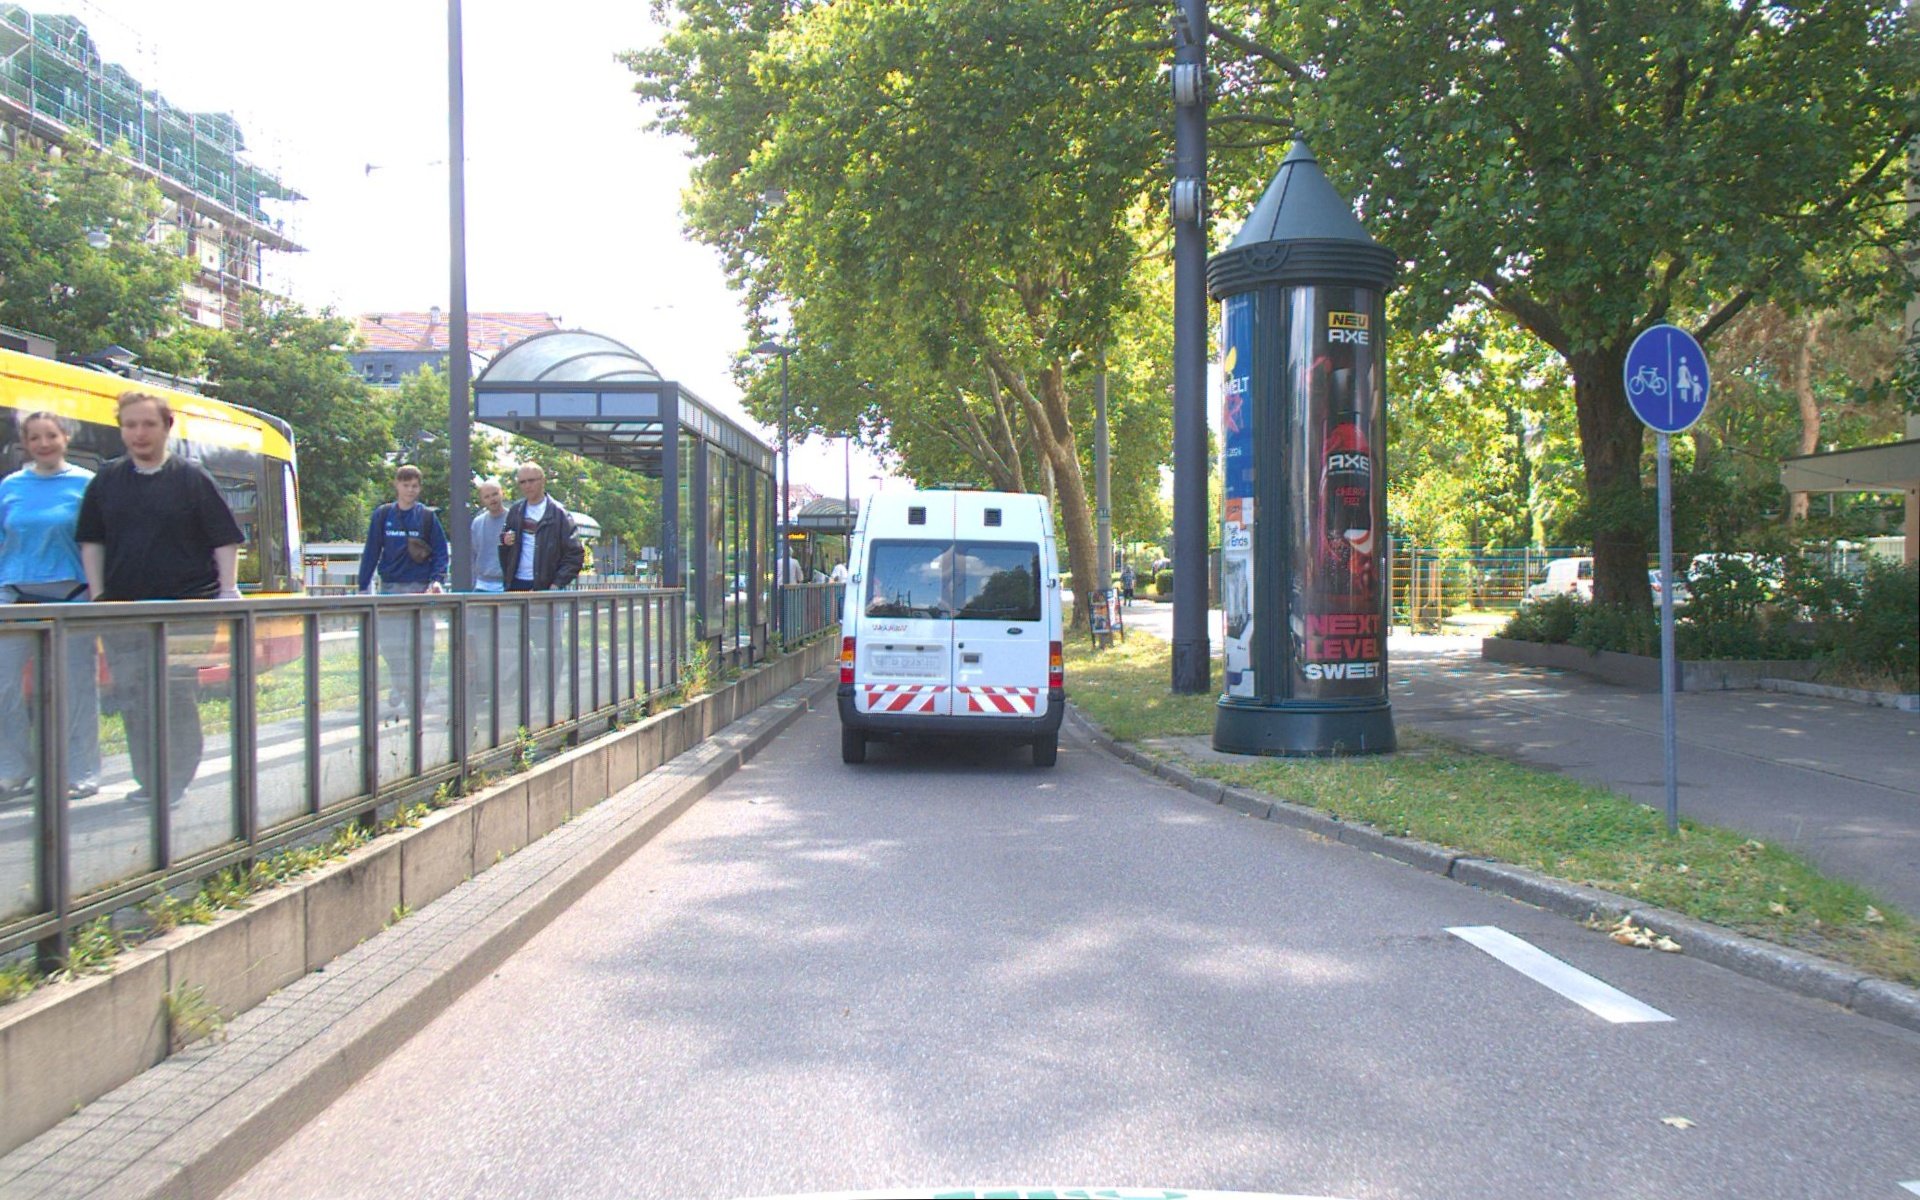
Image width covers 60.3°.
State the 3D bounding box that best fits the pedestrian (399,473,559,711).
[{"bbox_3d":[-3.897,-0.076,13.531,0.868,1.832,1.494,0,1,-1],"label":"pedestrian"}]

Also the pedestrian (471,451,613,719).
[{"bbox_3d":[-3.093,-0.114,12.334,0.794,1.905,1.031,0,1,-1],"label":"pedestrian"}]

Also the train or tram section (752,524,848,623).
[{"bbox_3d":[-6.337,-1.058,67.499,2.668,3.646,13.016,0,1,0],"label":"train or tram section"}]

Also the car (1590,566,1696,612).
[{"bbox_3d":[22.084,-0.383,53.634,1.770,1.426,4.047,0,1,0],"label":"car"}]

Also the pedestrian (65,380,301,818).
[{"bbox_3d":[-3.500,-0.008,7.515,0.687,1.881,0.789,0,0,-1],"label":"pedestrian"}]

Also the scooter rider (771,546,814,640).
[{"bbox_3d":[-2.902,-0.128,28.665,0.641,1.598,0.901,-1,1,-1],"label":"scooter rider"}]

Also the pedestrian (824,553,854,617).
[{"bbox_3d":[-2.939,-0.359,40.203,0.662,1.542,0.596,-1,1,-1],"label":"pedestrian"}]

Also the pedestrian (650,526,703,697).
[{"bbox_3d":[-3.265,0.128,19.048,0.464,1.933,0.533,-1,1,-25],"label":"pedestrian"}]

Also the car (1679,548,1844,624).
[{"bbox_3d":[19.997,-0.375,41.497,1.702,1.786,4.770,0,1,-2],"label":"car"}]

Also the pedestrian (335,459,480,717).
[{"bbox_3d":[-4.103,-0.096,12.361,0.697,1.832,1.132,0,1,-1],"label":"pedestrian"}]

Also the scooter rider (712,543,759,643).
[{"bbox_3d":[-3.755,-0.120,27.697,0.641,1.642,0.901,-1,1,-1],"label":"scooter rider"}]

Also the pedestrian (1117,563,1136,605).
[{"bbox_3d":[6.726,-0.655,66.955,0.679,1.653,0.637,-1,1,-1],"label":"pedestrian"}]

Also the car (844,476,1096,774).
[{"bbox_3d":[0.058,0.151,15.675,2.005,2.373,4.714,-1,1,-1],"label":"car"}]

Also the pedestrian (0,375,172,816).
[{"bbox_3d":[-4.144,-0.021,7.514,0.687,1.881,0.908,0,0,-1],"label":"pedestrian"}]

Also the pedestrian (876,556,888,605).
[{"bbox_3d":[-2.601,-0.651,55.188,0.377,1.619,0.439,-1,1,-1],"label":"pedestrian"}]

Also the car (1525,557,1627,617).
[{"bbox_3d":[19.682,-0.422,53.006,1.769,1.846,4.340,0,1,2],"label":"car"}]

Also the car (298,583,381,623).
[{"bbox_3d":[-23.026,0.088,61.462,1.684,1.395,3.704,-1,1,0],"label":"car"}]

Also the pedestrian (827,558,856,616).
[{"bbox_3d":[-2.950,-0.322,41.225,0.662,1.427,0.596,-1,1,-1],"label":"pedestrian"}]

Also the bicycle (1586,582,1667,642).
[{"bbox_3d":[12.766,0.212,31.733,0.594,1.092,1.835,-1,1,-9],"label":"bicycle"}]

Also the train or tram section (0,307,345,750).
[{"bbox_3d":[-9.228,-0.602,14.717,2.668,3.646,13.016,0,1,0],"label":"train or tram section"}]
